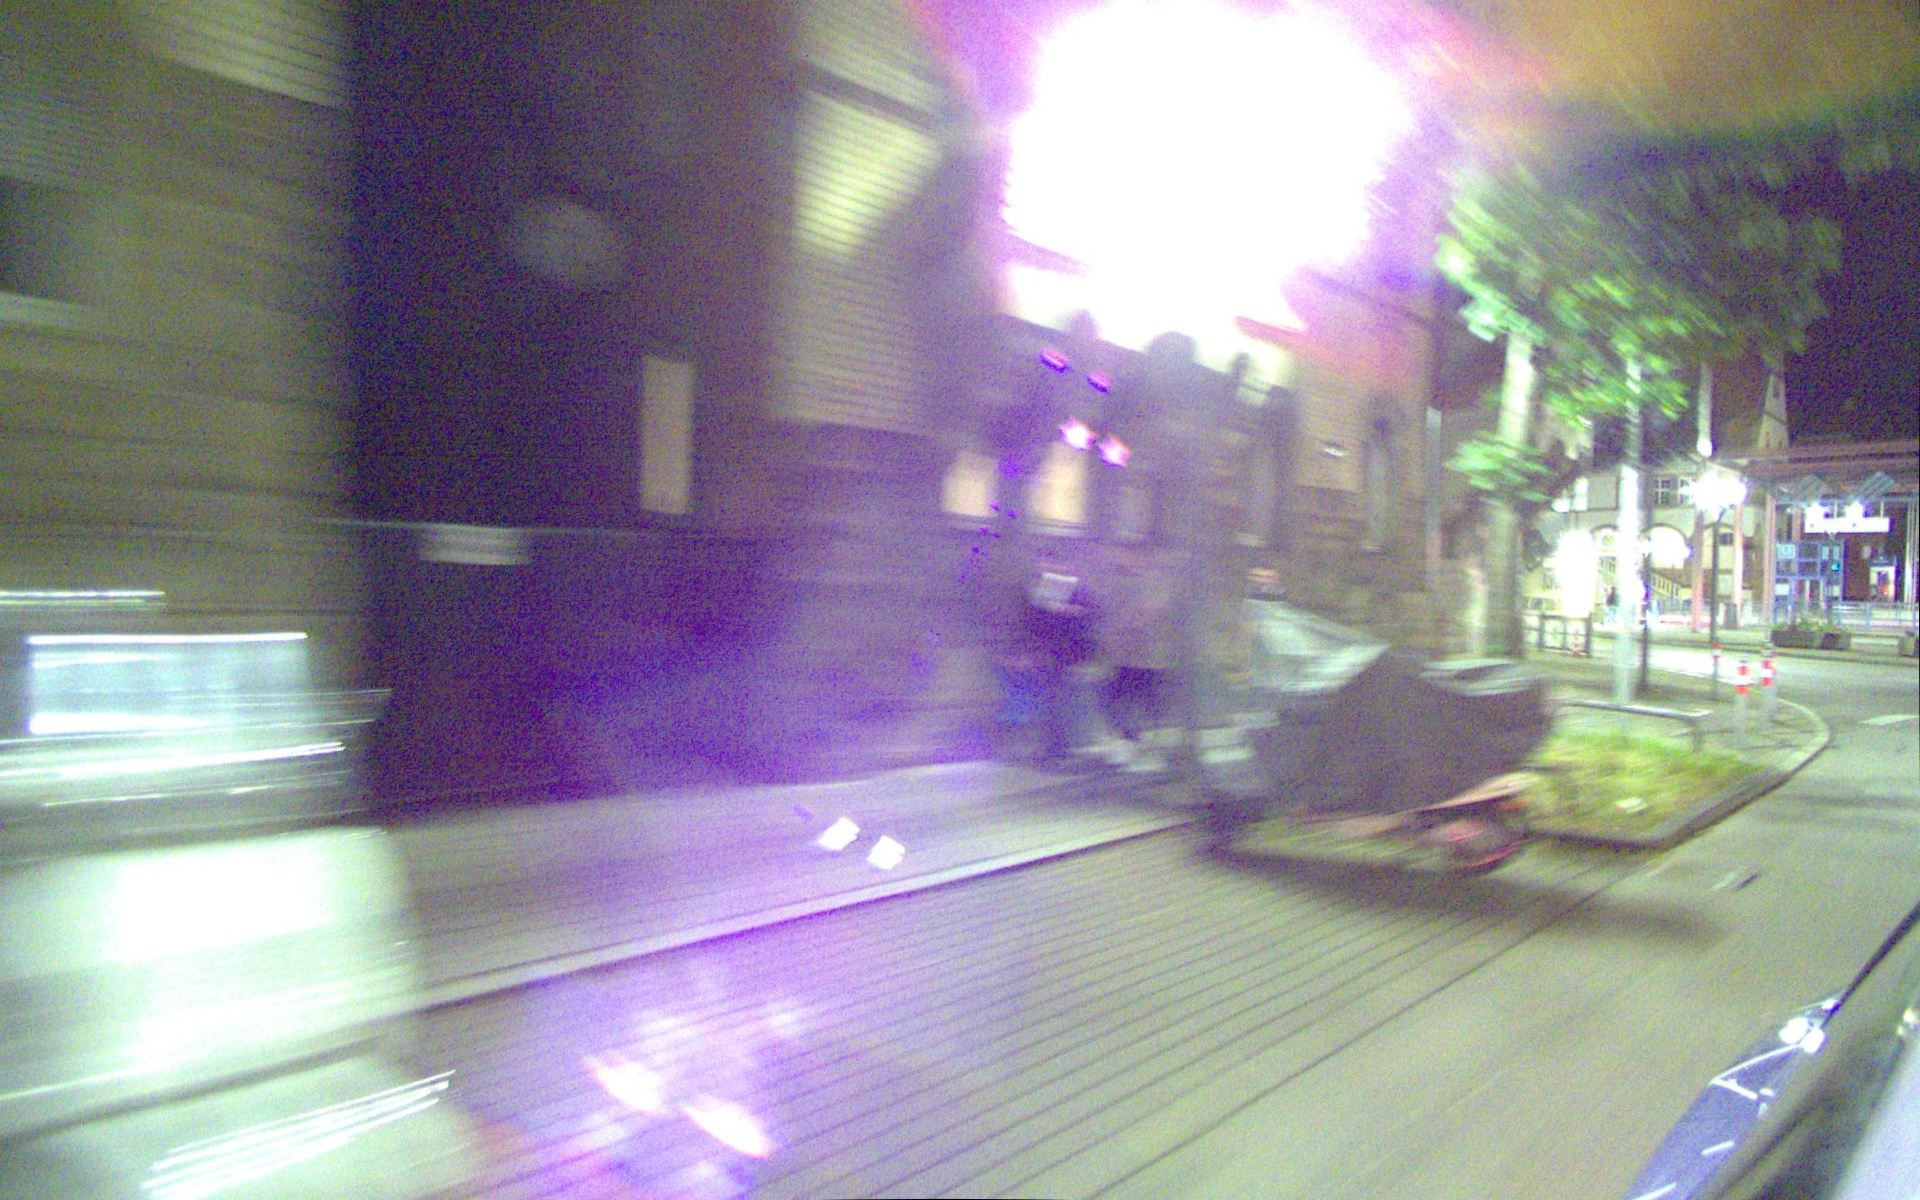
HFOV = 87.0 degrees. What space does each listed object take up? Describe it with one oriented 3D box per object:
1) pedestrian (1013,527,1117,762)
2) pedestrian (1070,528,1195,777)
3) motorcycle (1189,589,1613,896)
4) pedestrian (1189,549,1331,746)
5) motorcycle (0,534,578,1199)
[{"bbox_3d":[0.809,0.318,7.804,0.561,1.730,0.477,1,2,-41],"label":"pedestrian"},{"bbox_3d":[1.270,0.353,7.449,0.692,1.730,0.508,1,2,-41],"label":"pedestrian"},{"bbox_3d":[2.251,0.680,5.458,1.916,1.369,0.760,3,2,14],"label":"motorcycle"},{"bbox_3d":[2.697,0.381,9.099,0.949,1.651,0.808,0,1,-41],"label":"pedestrian"},{"bbox_3d":[-1.803,0.613,2.173,2.051,1.423,0.911,6,4,40],"label":"motorcycle"}]
